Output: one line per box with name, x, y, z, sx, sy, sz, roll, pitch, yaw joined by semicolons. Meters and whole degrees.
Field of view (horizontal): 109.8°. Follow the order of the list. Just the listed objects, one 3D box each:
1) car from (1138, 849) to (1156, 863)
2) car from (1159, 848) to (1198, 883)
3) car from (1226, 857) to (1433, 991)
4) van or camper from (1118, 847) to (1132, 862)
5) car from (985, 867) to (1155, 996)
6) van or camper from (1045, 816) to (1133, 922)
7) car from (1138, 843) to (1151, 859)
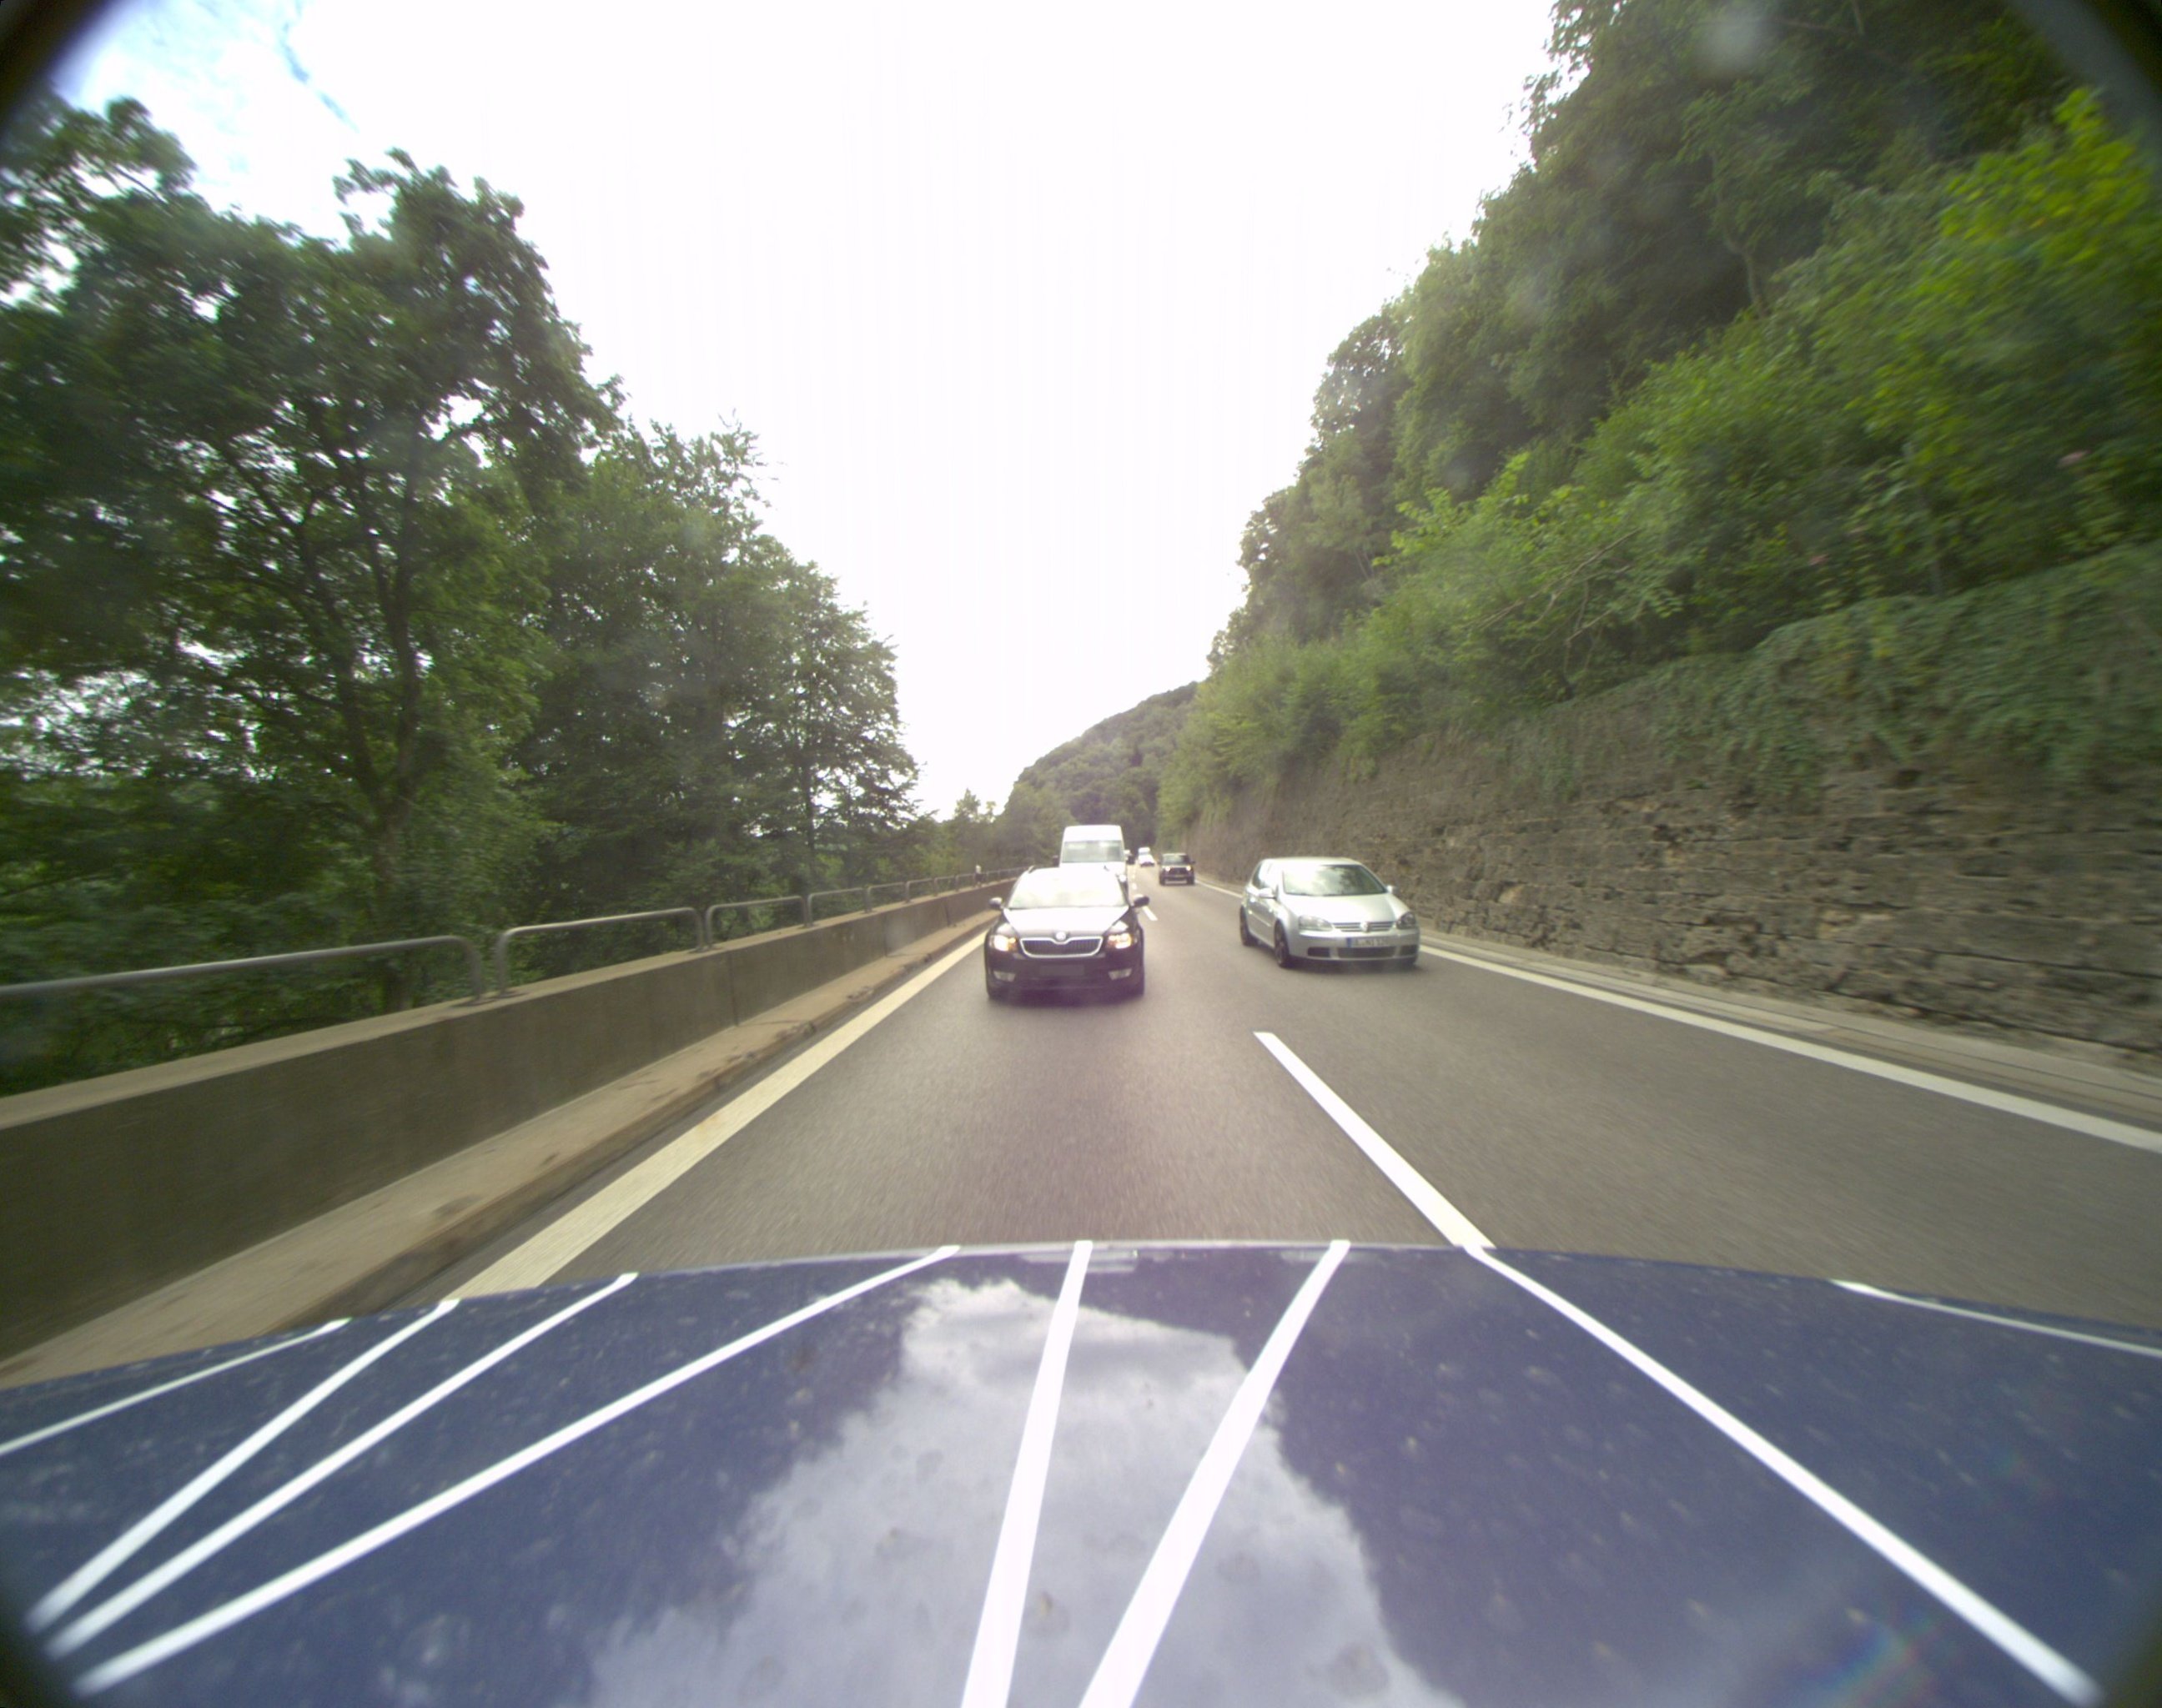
car;8.291;0.270;95.878;1.813;1.646;4.583;-3;0;0
car;5.082;0.559;40.097;1.812;1.646;4.585;-2;0;5
car;3.398;0.843;11.339;1.685;1.506;4.584;-2;0;2
van or camper;7.994;0.142;136.118;2.269;2.526;5.913;-3;0;5
car;-0.105;0.976;11.643;1.998;1.389;5.008;-2;0;1
van or camper;0.341;0.394;22.405;2.081;2.575;5.913;-4;0;2
car;10.352;-0.485;123.807;1.975;2.628;4.584;-2;0;4
